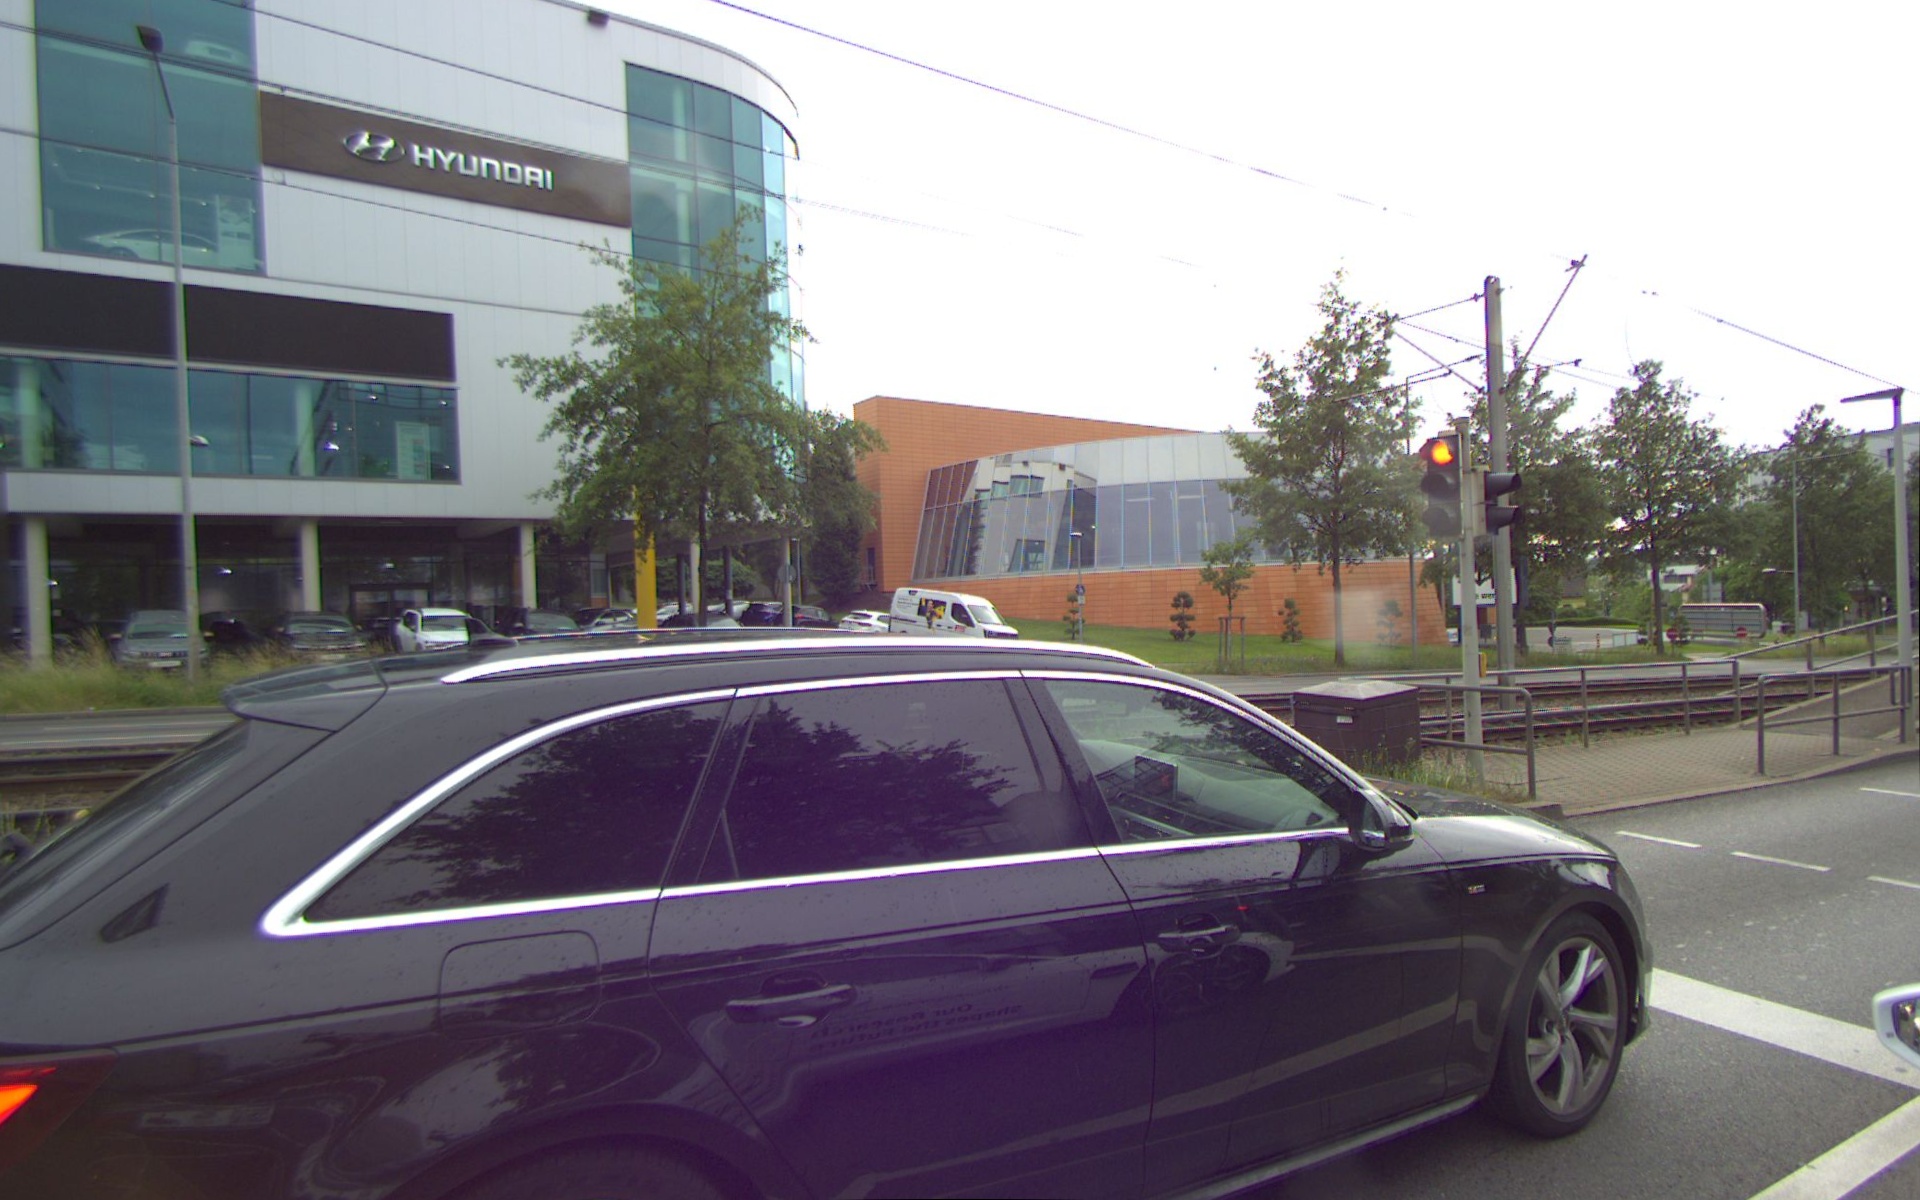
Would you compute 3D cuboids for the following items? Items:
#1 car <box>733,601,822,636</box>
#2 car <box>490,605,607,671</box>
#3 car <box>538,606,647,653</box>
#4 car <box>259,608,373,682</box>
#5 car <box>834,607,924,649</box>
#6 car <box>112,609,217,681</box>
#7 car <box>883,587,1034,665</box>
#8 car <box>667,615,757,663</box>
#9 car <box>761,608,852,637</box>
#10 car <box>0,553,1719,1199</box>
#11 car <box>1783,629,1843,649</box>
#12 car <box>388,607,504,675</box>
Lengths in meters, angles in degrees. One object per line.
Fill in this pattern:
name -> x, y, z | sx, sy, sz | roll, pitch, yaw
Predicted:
car -> -8.880, 0.907, 49.076 | 1.969, 1.653, 3.982 | 0, -1, 39
car -> -12.295, 1.079, 29.860 | 1.984, 1.637, 4.324 | 1, 1, -40
car -> -12.845, 1.013, 35.337 | 1.691, 1.572, 3.587 | 0, -1, 20
car -> -16.970, 1.108, 26.388 | 1.984, 1.571, 4.324 | 1, 1, -40
car -> -3.352, 1.159, 42.156 | 1.703, 1.688, 3.734 | 1, -1, 38
car -> -19.880, 1.063, 25.062 | 1.917, 1.479, 3.974 | 1, 1, -40
car -> -0.132, 0.912, 38.106 | 5.544, 2.616, 2.392 | 3, 1, 43
car -> -7.887, 1.187, 31.770 | 1.565, 1.409, 3.619 | 0, -1, -36
car -> -7.225, 1.061, 47.506 | 1.969, 1.297, 3.982 | 0, -1, 39
car -> 0.098, 0.723, 2.879 | 4.461, 1.486, 1.772 | 1, -1, -31
car -> 66.627, 3.030, 78.509 | 1.408, 1.405, 3.371 | 0, 0, -13
car -> -14.512, 1.076, 28.243 | 1.984, 1.571, 4.324 | 1, 1, -40
